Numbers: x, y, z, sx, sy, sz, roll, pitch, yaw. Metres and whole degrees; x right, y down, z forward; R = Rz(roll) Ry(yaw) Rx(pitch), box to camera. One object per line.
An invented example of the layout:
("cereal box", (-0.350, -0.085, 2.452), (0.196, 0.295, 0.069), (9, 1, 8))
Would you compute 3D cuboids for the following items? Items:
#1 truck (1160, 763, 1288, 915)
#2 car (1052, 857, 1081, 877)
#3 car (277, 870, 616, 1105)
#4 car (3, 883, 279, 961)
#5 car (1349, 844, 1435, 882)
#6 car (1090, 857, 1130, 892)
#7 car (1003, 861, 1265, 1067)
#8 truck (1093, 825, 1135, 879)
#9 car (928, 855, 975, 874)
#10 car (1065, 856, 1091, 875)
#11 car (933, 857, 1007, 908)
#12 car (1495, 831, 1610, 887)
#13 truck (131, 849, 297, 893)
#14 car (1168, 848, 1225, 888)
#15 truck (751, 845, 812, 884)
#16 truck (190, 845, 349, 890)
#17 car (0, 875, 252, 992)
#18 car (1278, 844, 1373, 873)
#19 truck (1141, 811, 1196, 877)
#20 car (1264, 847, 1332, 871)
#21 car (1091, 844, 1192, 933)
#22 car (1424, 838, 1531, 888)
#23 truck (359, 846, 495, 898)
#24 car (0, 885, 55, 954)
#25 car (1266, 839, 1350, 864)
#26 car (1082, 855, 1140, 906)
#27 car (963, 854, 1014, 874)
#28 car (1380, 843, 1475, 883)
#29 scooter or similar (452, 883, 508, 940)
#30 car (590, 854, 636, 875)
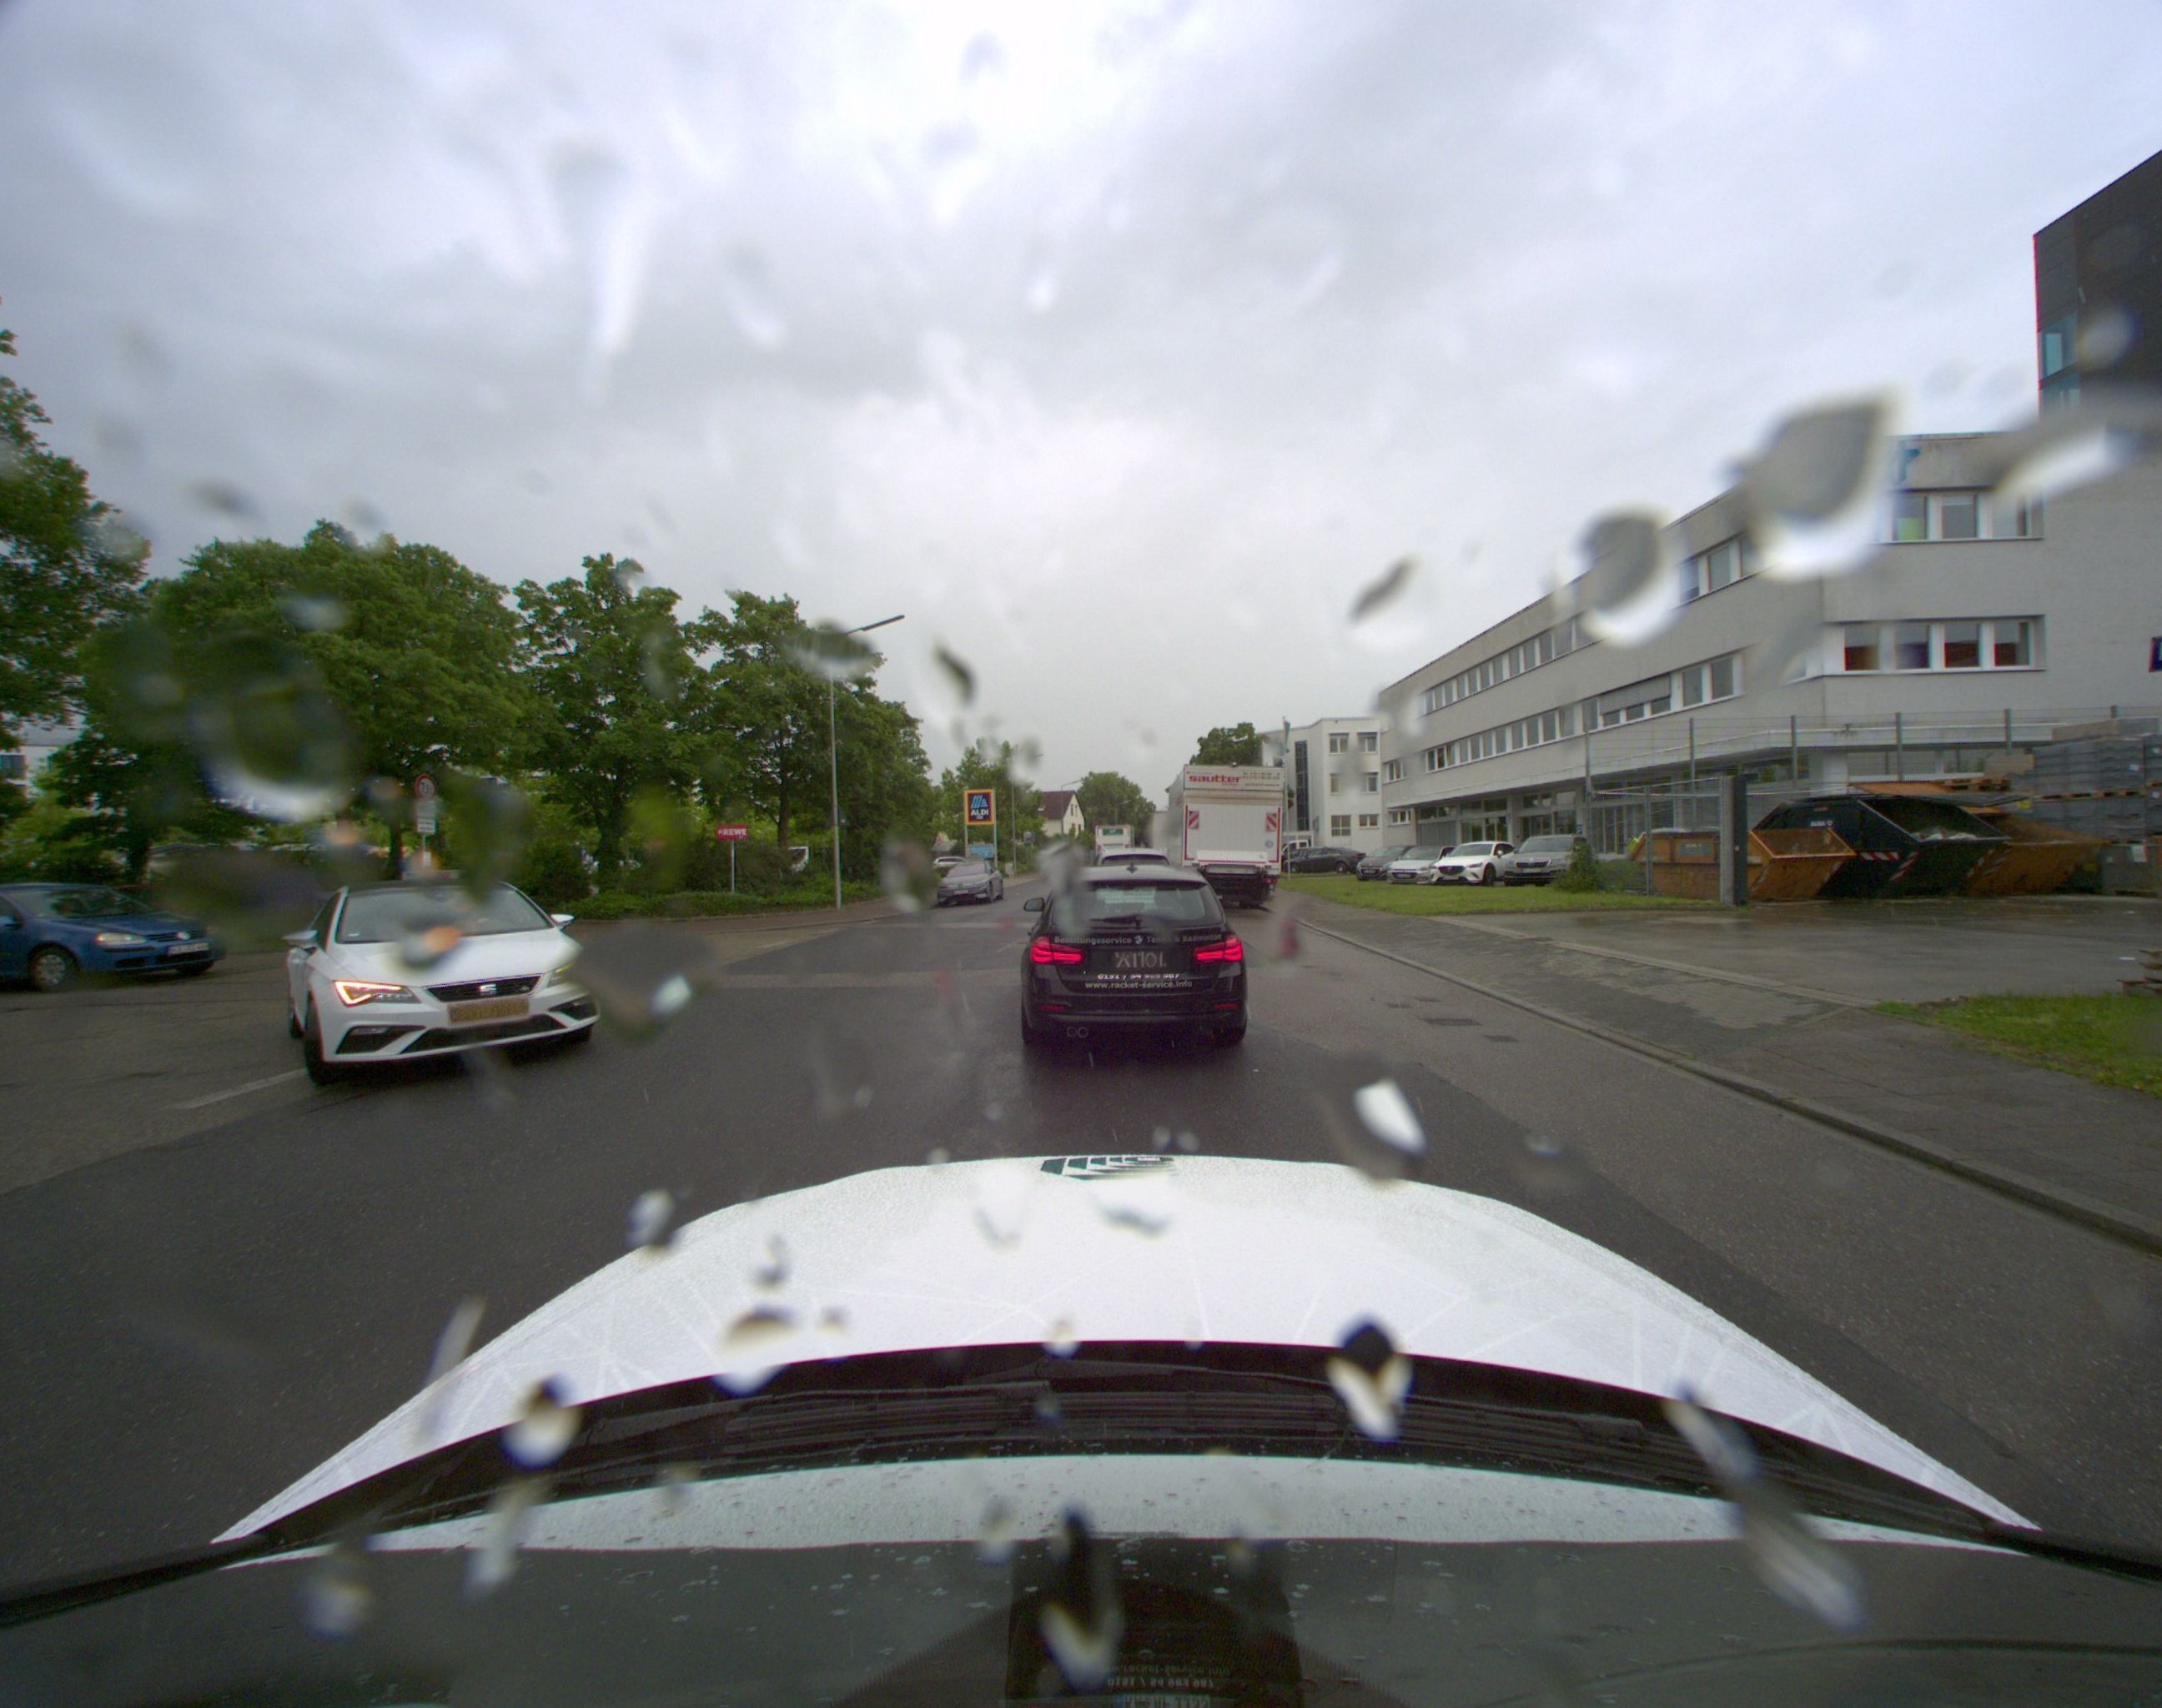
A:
("truck", (4.048, -0.391, 25.119), (2.730, 3.789, 9.306), (1, 0, 3))
("car", (-1.088, 0.979, 62.974), (1.698, 1.367, 4.607), (-4, 0, 4))
("car", (-5.805, 0.929, 7.263), (3.949, 1.441, 1.747), (-2, 0, 43))
("car", (-20.279, 1.443, 17.692), (3.972, 1.363, 1.737), (-2, 0, 1))
("car", (12.552, 0.338, 32.796), (3.789, 1.393, 1.686), (-2, 0, -43))
("car", (1.324, 0.949, 38.582), (1.798, 1.552, 4.000), (-1, 0, 1))
("car", (0.393, 0.784, 7.661), (1.798, 1.395, 4.000), (-1, 0, 1))
("truck", (2.297, -0.260, 53.945), (2.330, 3.256, 7.763), (1, 2, 5))
("car", (-11.901, 0.956, 75.031), (3.970, 1.540, 1.912), (-2, 0, 3))
("car", (-0.220, 0.961, 68.933), (1.697, 1.367, 3.844), (-4, 0, 6))
("car", (-3.971, 0.975, 29.895), (1.802, 1.528, 4.749), (-5, 0, 2))
("car", (14.107, 0.122, 24.297), (4.022, 1.527, 1.850), (-2, 0, -43))
("truck", (-44.761, 0.827, 42.342), (1.987, 2.060, 6.134), (-2, 0, 0))
("car", (4.556, 0.540, 32.730), (1.790, 1.441, 4.347), (-2, 0, 2))
("truck", (-22.535, 0.783, 61.656), (1.986, 2.753, 6.469), (-2, 0, 1))
("truck", (-41.688, 0.643, 42.146), (1.987, 2.094, 6.134), (-2, 0, 0))
("car", (-14.839, 1.138, 11.740), (3.972, 1.441, 1.737), (-2, 0, 1))
("car", (13.300, 0.271, 44.511), (4.616, 1.468, 1.802), (-2, 0, 40))
("truck", (5.100, -0.578, 48.803), (2.730, 3.611, 7.754), (1, 0, 2))
("car", (13.632, 0.285, 51.207), (3.733, 1.396, 1.738), (2, 2, 42))
("car", (1.114, 0.632, 16.716), (1.798, 1.586, 4.000), (-1, 0, 1))
("car", (12.972, 0.247, 26.576), (4.022, 1.470, 1.754), (-2, 0, -43))
("truck", (-35.982, 0.920, 45.127), (1.984, 2.601, 6.403), (-2, 0, 4))
("car", (-25.256, 1.516, 17.597), (3.972, 1.441, 1.737), (-2, 0, 1))
("car", (18.825, -0.184, 67.791), (6.437, 2.014, 1.998), (-1, -1, -2))
("car", (0.957, 0.846, 27.463), (1.798, 1.552, 4.000), (-1, 0, 1))
("car", (-6.935, 0.746, 61.137), (3.554, 1.460, 1.714), (0, 0, 4))
("car", (12.740, 0.306, 29.847), (4.022, 1.286, 1.686), (-2, 0, -43))
("scooter or similar", (-13.177, 1.245, 17.871), (0.282, 1.175, 1.063), (-2, 0, 10))
("car", (-45.715, 1.002, 79.692), (1.985, 2.014, 4.003), (-1, -1, 3))
